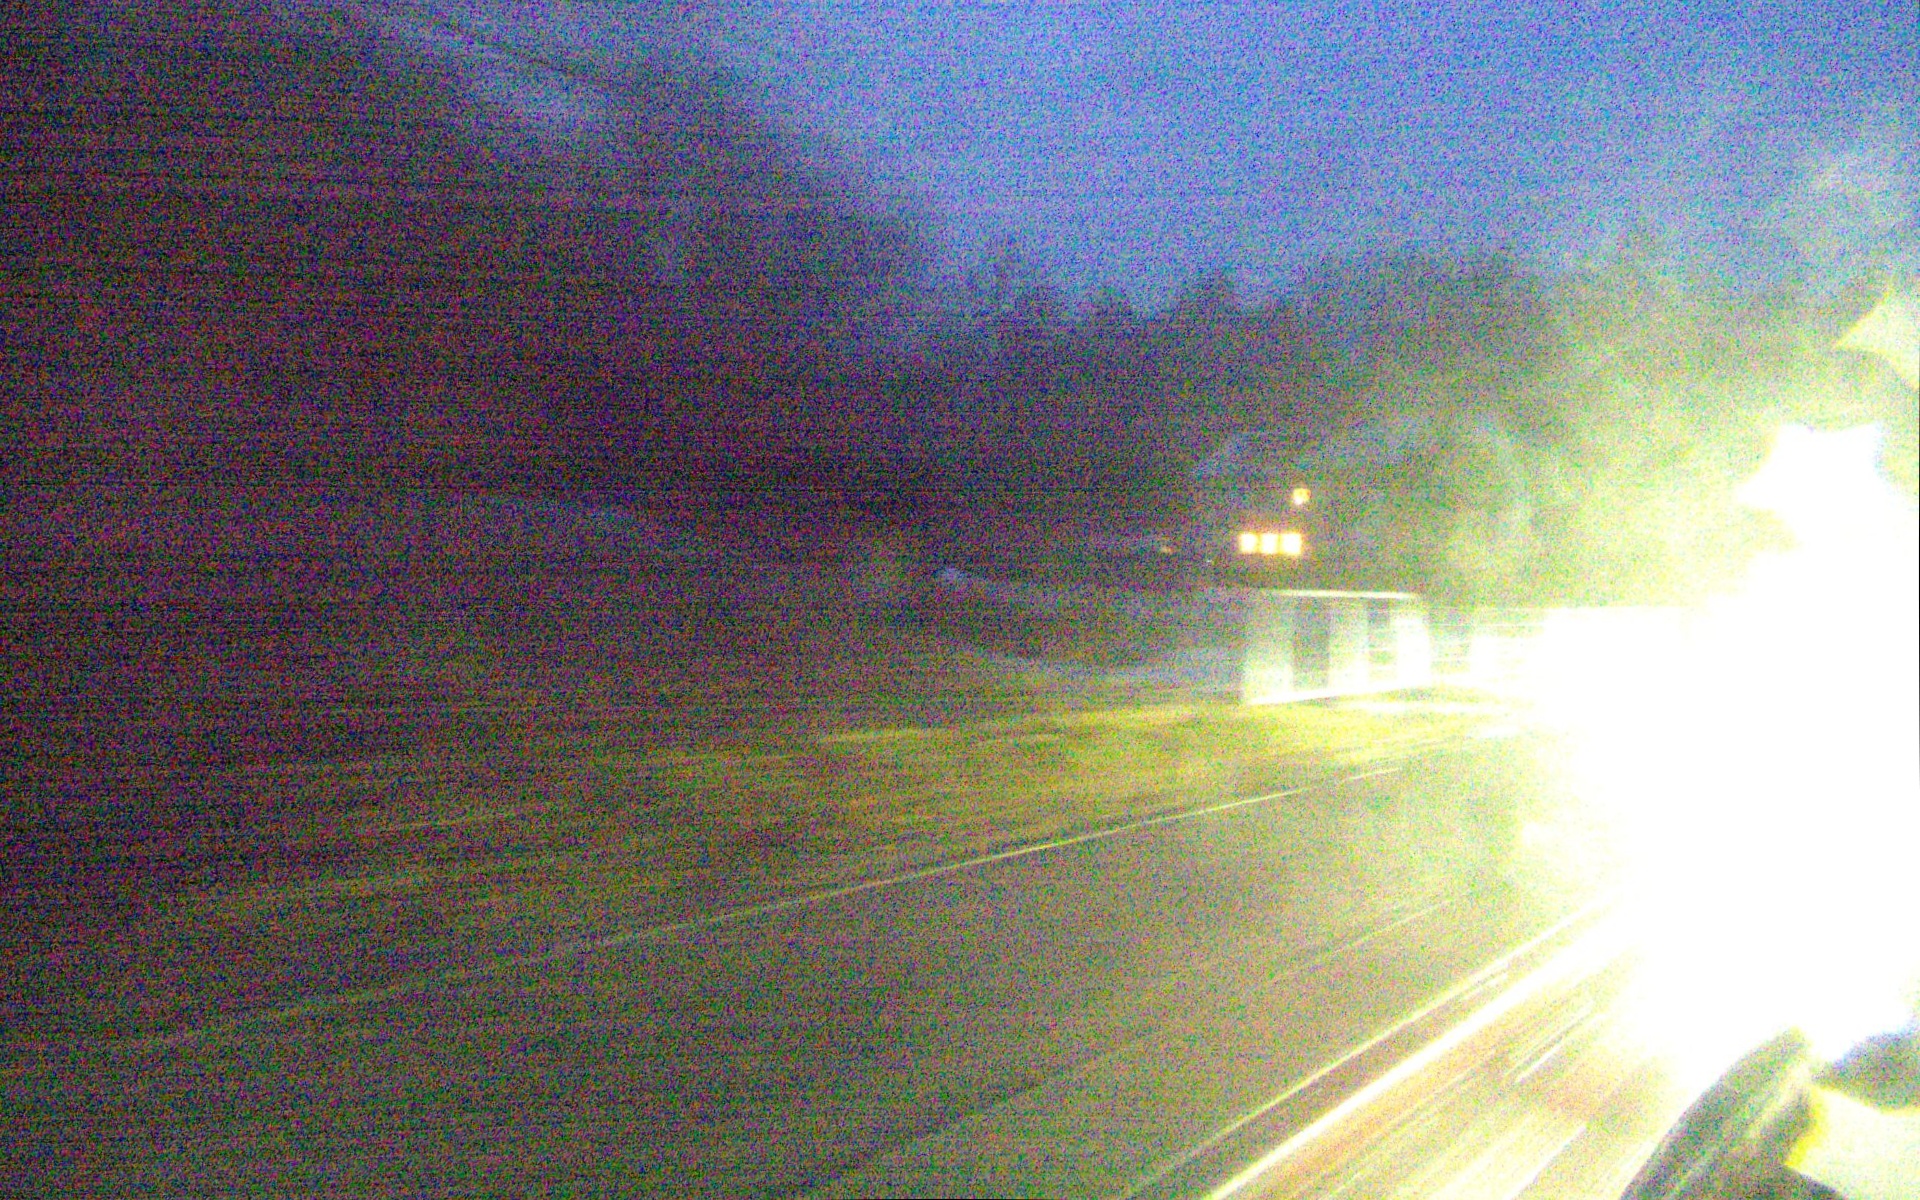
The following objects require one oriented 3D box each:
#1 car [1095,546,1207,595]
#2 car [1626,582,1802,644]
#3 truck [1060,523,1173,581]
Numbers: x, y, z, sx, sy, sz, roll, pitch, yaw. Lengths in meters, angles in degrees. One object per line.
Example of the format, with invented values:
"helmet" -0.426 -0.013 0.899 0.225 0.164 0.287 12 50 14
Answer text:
"car" 8.543 -1.381 45.630 1.965 2.038 4.752 -1 3 -40
"car" 22.180 0.321 29.924 1.714 1.539 3.746 0 4 -27
"truck" 7.901 -2.386 51.188 5.302 2.787 2.206 1 1 27
